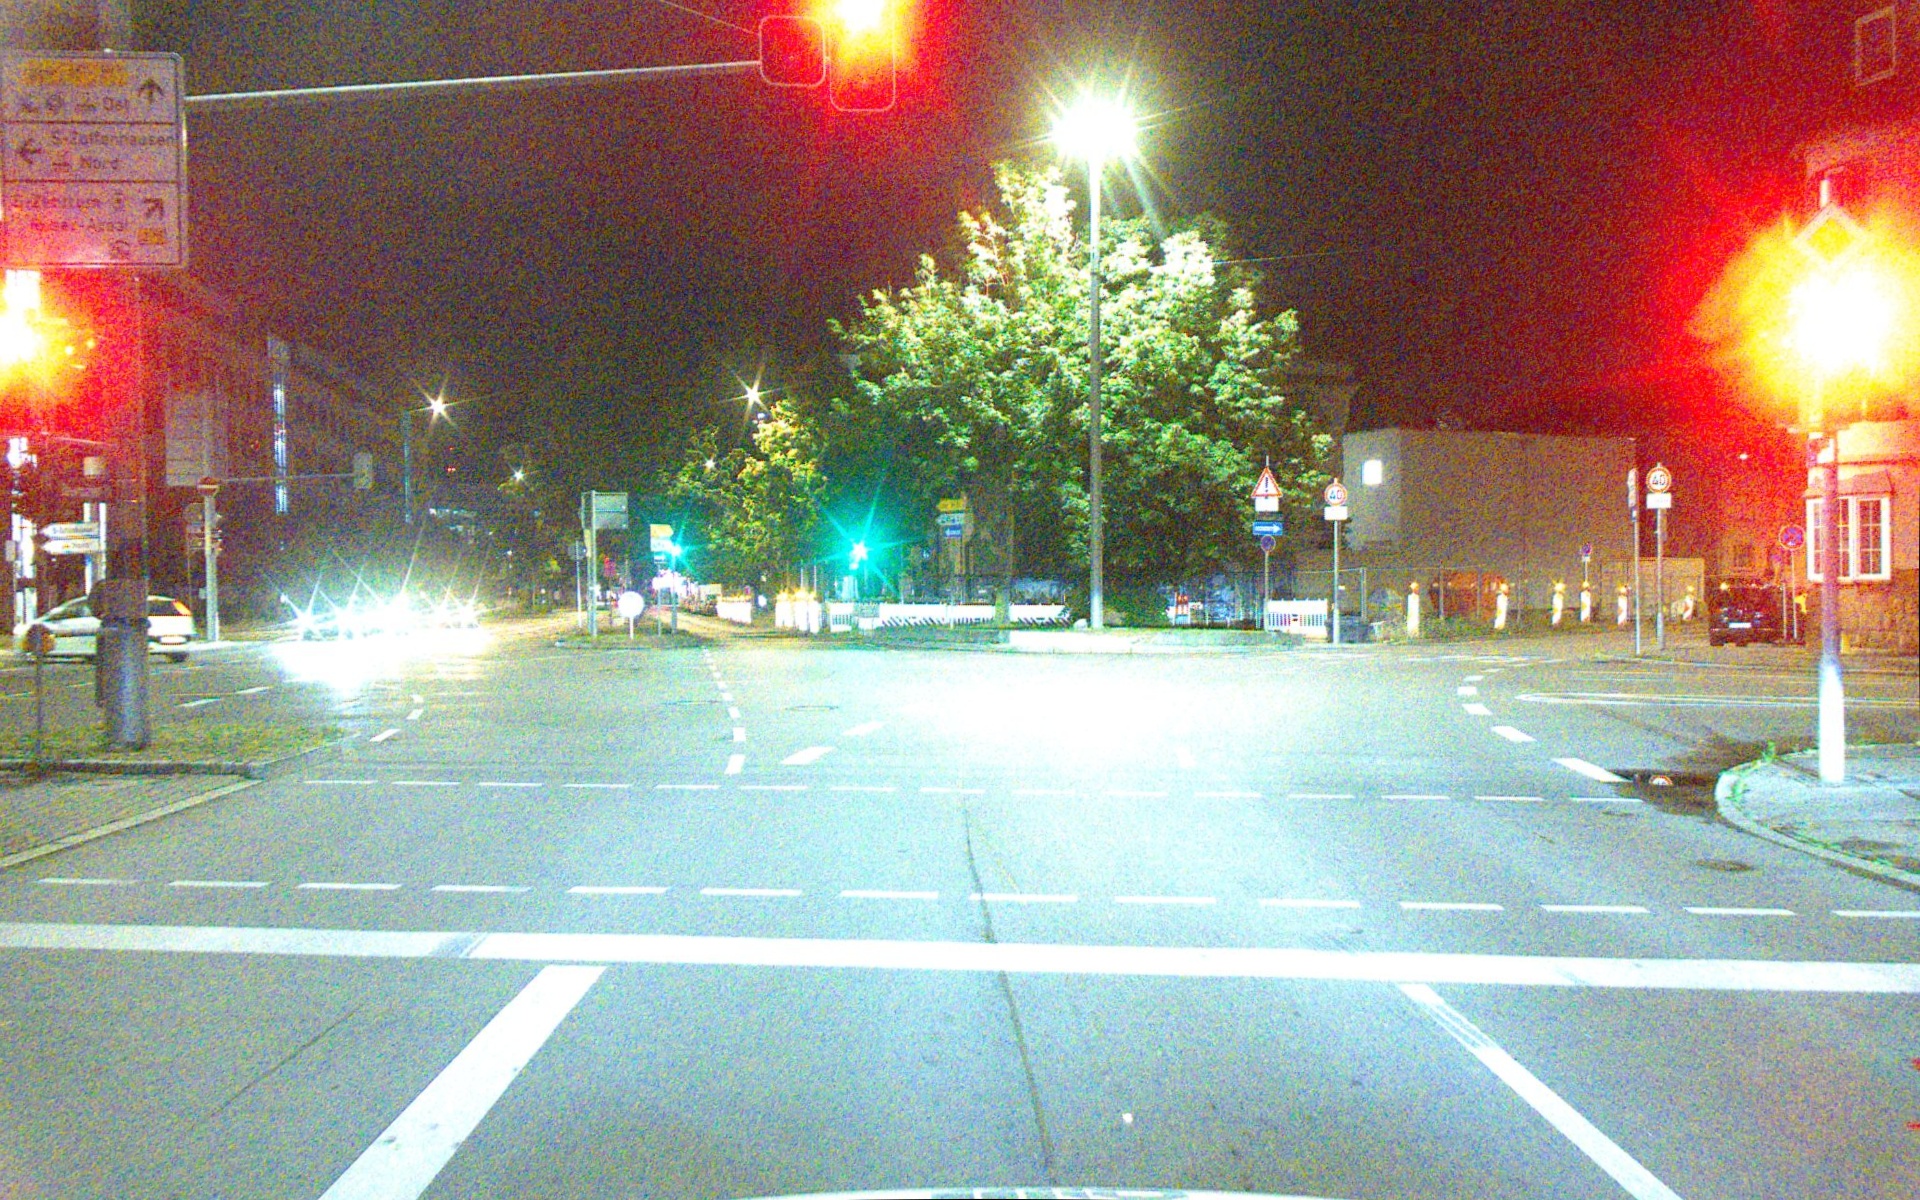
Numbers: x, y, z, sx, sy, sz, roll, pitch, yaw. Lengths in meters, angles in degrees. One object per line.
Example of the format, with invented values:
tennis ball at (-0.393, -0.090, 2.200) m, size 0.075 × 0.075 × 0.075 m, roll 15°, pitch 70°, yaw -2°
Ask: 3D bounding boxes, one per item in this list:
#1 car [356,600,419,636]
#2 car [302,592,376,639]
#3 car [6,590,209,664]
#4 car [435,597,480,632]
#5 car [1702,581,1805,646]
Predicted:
car at (-22.194, 0.675, 64.198) m, size 1.725 × 1.345 × 3.540 m, roll 0°, pitch 0°, yaw -9°
car at (-21.234, 0.515, 56.706) m, size 1.586 × 1.541 × 3.992 m, roll 0°, pitch 0°, yaw -9°
car at (-18.363, 0.578, 35.651) m, size 3.904 × 1.518 × 1.709 m, roll -1°, pitch -1°, yaw 20°
car at (-25.941, 0.754, 85.441) m, size 1.725 × 1.758 × 3.540 m, roll 0°, pitch 0°, yaw -9°
car at (21.004, 0.353, 43.718) m, size 1.700 × 1.640 × 3.606 m, roll -1°, pitch -1°, yaw 39°
